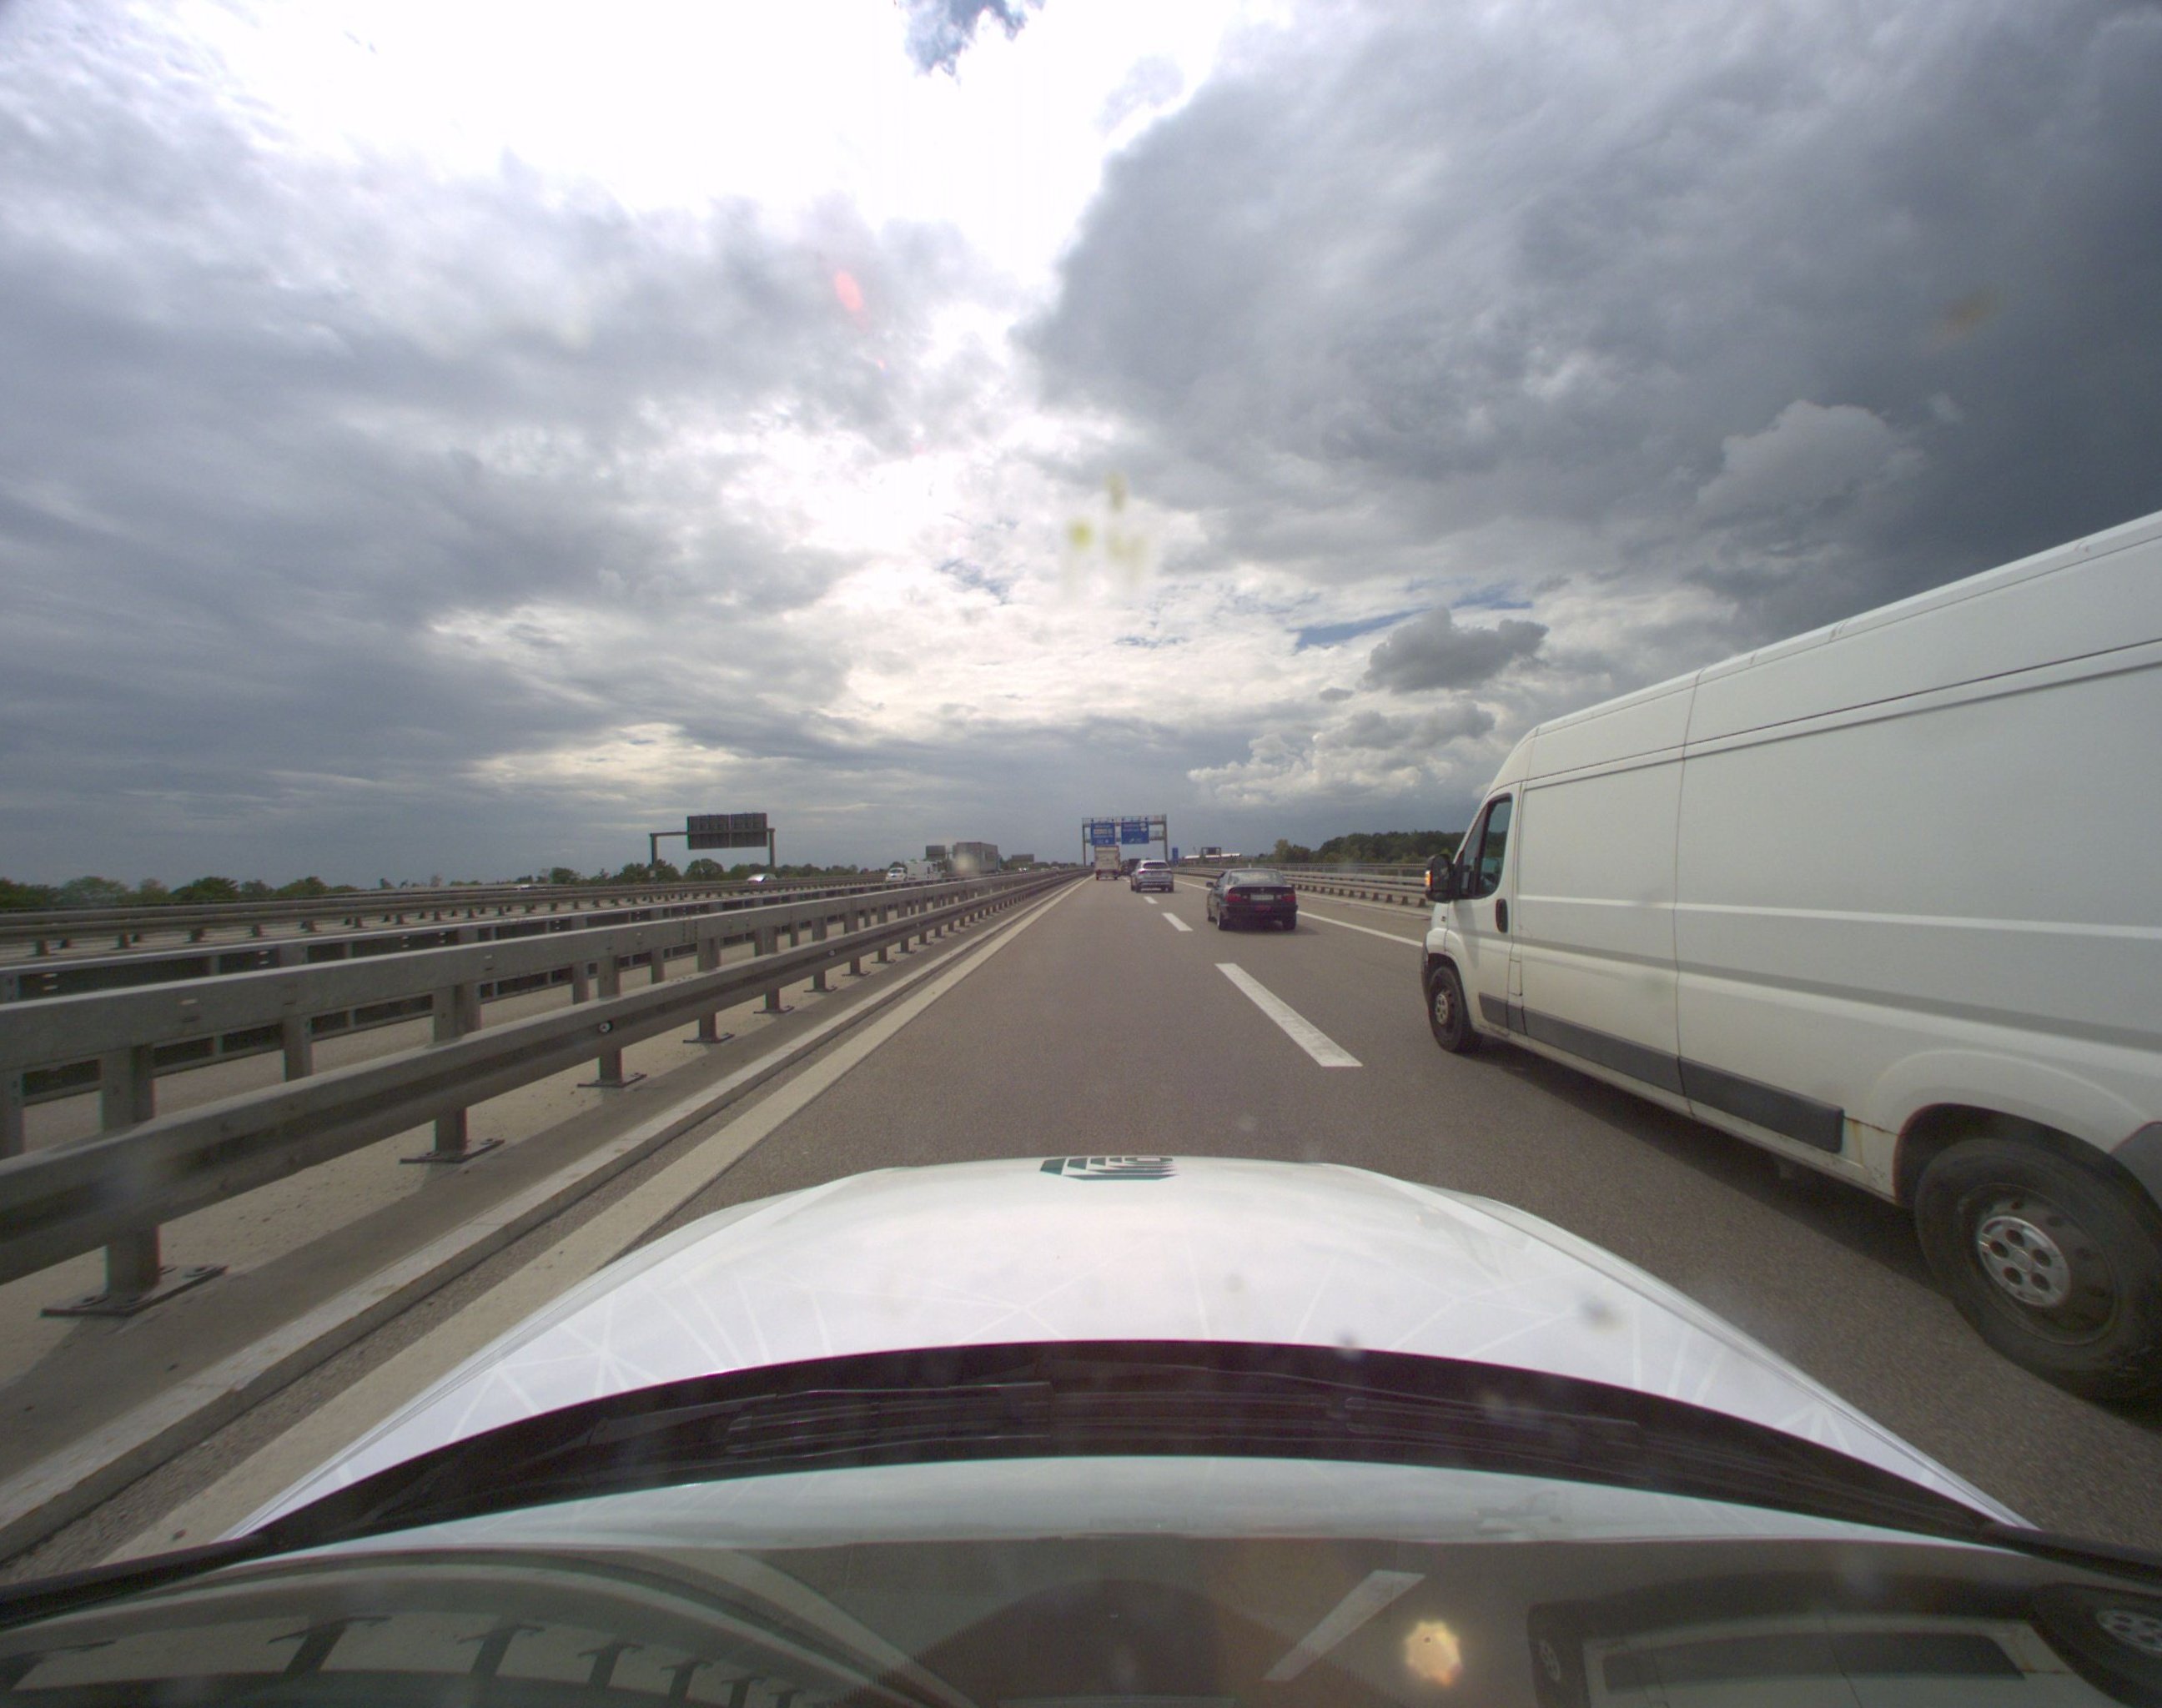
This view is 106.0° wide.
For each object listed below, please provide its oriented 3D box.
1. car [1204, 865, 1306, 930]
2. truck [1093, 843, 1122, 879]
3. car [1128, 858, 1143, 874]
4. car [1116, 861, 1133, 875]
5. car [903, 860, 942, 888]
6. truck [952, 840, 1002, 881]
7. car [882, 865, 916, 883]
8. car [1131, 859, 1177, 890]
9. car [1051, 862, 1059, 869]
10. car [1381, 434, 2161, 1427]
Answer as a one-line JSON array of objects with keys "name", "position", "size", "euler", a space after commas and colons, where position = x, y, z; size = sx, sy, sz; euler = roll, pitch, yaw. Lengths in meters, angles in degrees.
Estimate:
[{"name": "car", "position": [3.911, 0.931, 18.961], "size": [1.697, 1.281, 4.369], "euler": [-1, 0, 3]}, {"name": "truck", "position": [2.516, 0.743, 77.234], "size": [2.559, 3.126, 8.636], "euler": [-1, -2, 2]}, {"name": "car", "position": [7.638, 1.636, 114.380], "size": [1.899, 2.262, 4.650], "euler": [-1, 0, 1]}, {"name": "car", "position": [5.019, 1.642, 95.014], "size": [1.878, 1.552, 4.001], "euler": [-1, 0, 2]}, {"name": "car", "position": [-11.906, 1.451, 61.452], "size": [1.986, 2.014, 4.376], "euler": [-1, 0, 2]}, {"name": "truck", "position": [-11.196, 0.661, 89.487], "size": [3.172, 4.019, 16.076], "euler": [-1, 0, 1]}, {"name": "car", "position": [-15.723, 1.693, 70.584], "size": [1.790, 1.420, 4.003], "euler": [-1, 0, 3]}, {"name": "car", "position": [3.678, 1.007, 41.607], "size": [1.815, 1.514, 3.997], "euler": [-1, 0, -2]}, {"name": "car", "position": [-6.583, 2.897, 206.654], "size": [1.820, 1.563, 4.003], "euler": [-1, 0, 3]}, {"name": "car", "position": [3.781, 0.192, 4.481], "size": [2.106, 2.454, 6.153], "euler": [-1, 0, 1]}]
